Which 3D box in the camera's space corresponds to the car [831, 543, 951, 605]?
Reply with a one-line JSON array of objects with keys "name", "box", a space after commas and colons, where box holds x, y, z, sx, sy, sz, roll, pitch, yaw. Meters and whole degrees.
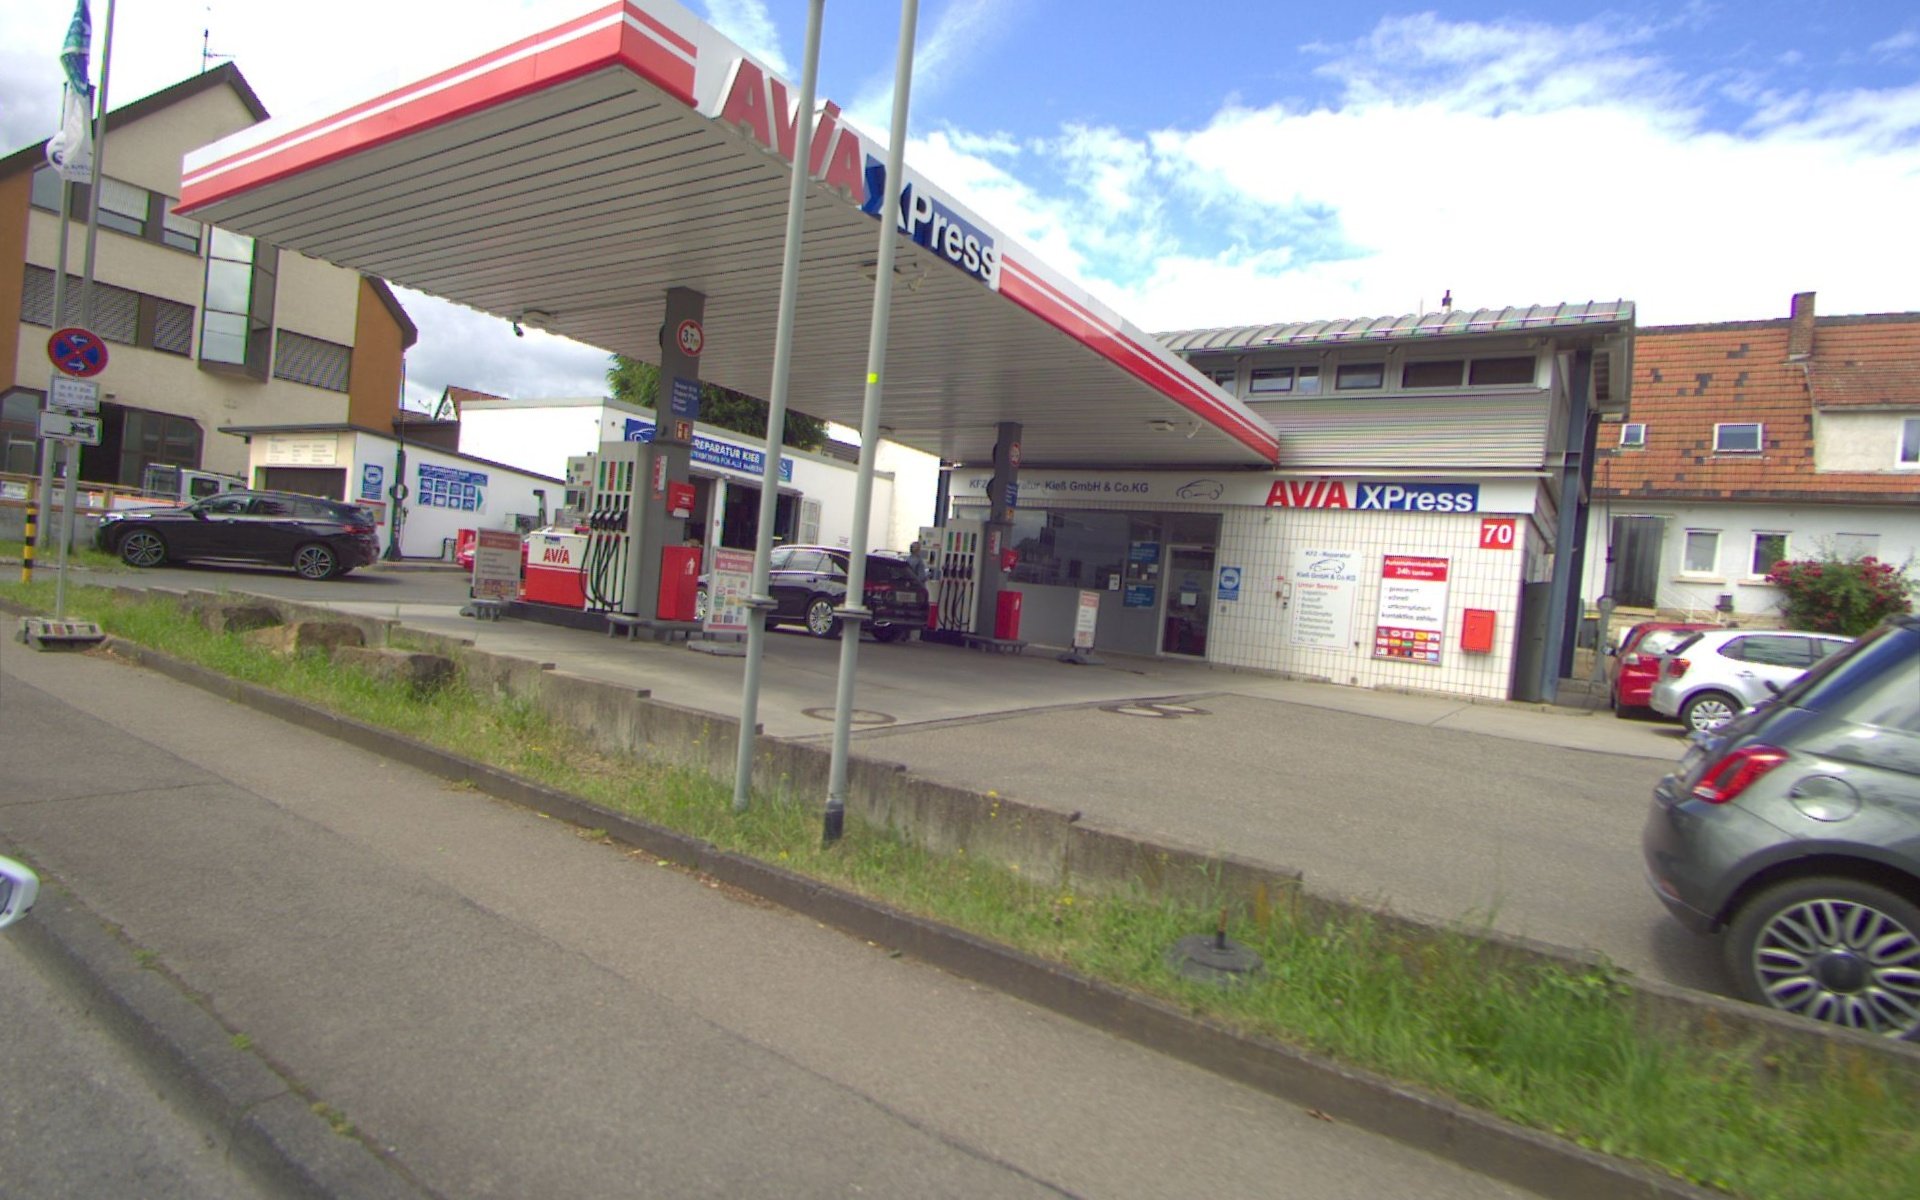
[{"name": "car", "box": [-2.324, -0.862, 34.557, 1.670, 1.583, 3.980, 10, 3, 40]}]

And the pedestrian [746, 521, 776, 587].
[{"name": "pedestrian", "box": [-5.870, -1.345, 29.751, 0.663, 1.867, 0.683, 6, 0, -10]}]

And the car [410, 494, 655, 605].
[{"name": "car", "box": [-9.367, -1.041, 22.229, 4.569, 1.737, 1.807, 8, -1, -37]}]

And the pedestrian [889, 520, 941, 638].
[{"name": "pedestrian", "box": [-0.782, -0.364, 17.484, 0.578, 1.959, 0.538, 6, 0, -19]}]

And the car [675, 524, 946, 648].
[{"name": "car", "box": [-2.579, -0.274, 16.822, 4.500, 1.628, 1.630, 5, 0, 35]}]

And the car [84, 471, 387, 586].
[{"name": "car", "box": [-13.293, -1.302, 18.765, 4.256, 1.653, 1.626, 4, 4, -21]}]

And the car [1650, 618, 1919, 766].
[{"name": "car", "box": [10.831, 1.097, 12.455, 3.690, 1.522, 1.627, 3, 2, 36]}]

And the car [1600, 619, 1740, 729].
[{"name": "car", "box": [11.480, 1.125, 16.263, 1.597, 1.478, 3.739, 3, 0, 36]}]

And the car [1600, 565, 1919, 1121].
[{"name": "car", "box": [4.398, 0.857, 2.871, 4.096, 1.620, 1.611, 7, 7, 37]}]

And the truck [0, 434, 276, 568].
[{"name": "truck", "box": [-20.856, -2.413, 25.570, 2.319, 2.488, 5.091, 8, 1, 34]}]
